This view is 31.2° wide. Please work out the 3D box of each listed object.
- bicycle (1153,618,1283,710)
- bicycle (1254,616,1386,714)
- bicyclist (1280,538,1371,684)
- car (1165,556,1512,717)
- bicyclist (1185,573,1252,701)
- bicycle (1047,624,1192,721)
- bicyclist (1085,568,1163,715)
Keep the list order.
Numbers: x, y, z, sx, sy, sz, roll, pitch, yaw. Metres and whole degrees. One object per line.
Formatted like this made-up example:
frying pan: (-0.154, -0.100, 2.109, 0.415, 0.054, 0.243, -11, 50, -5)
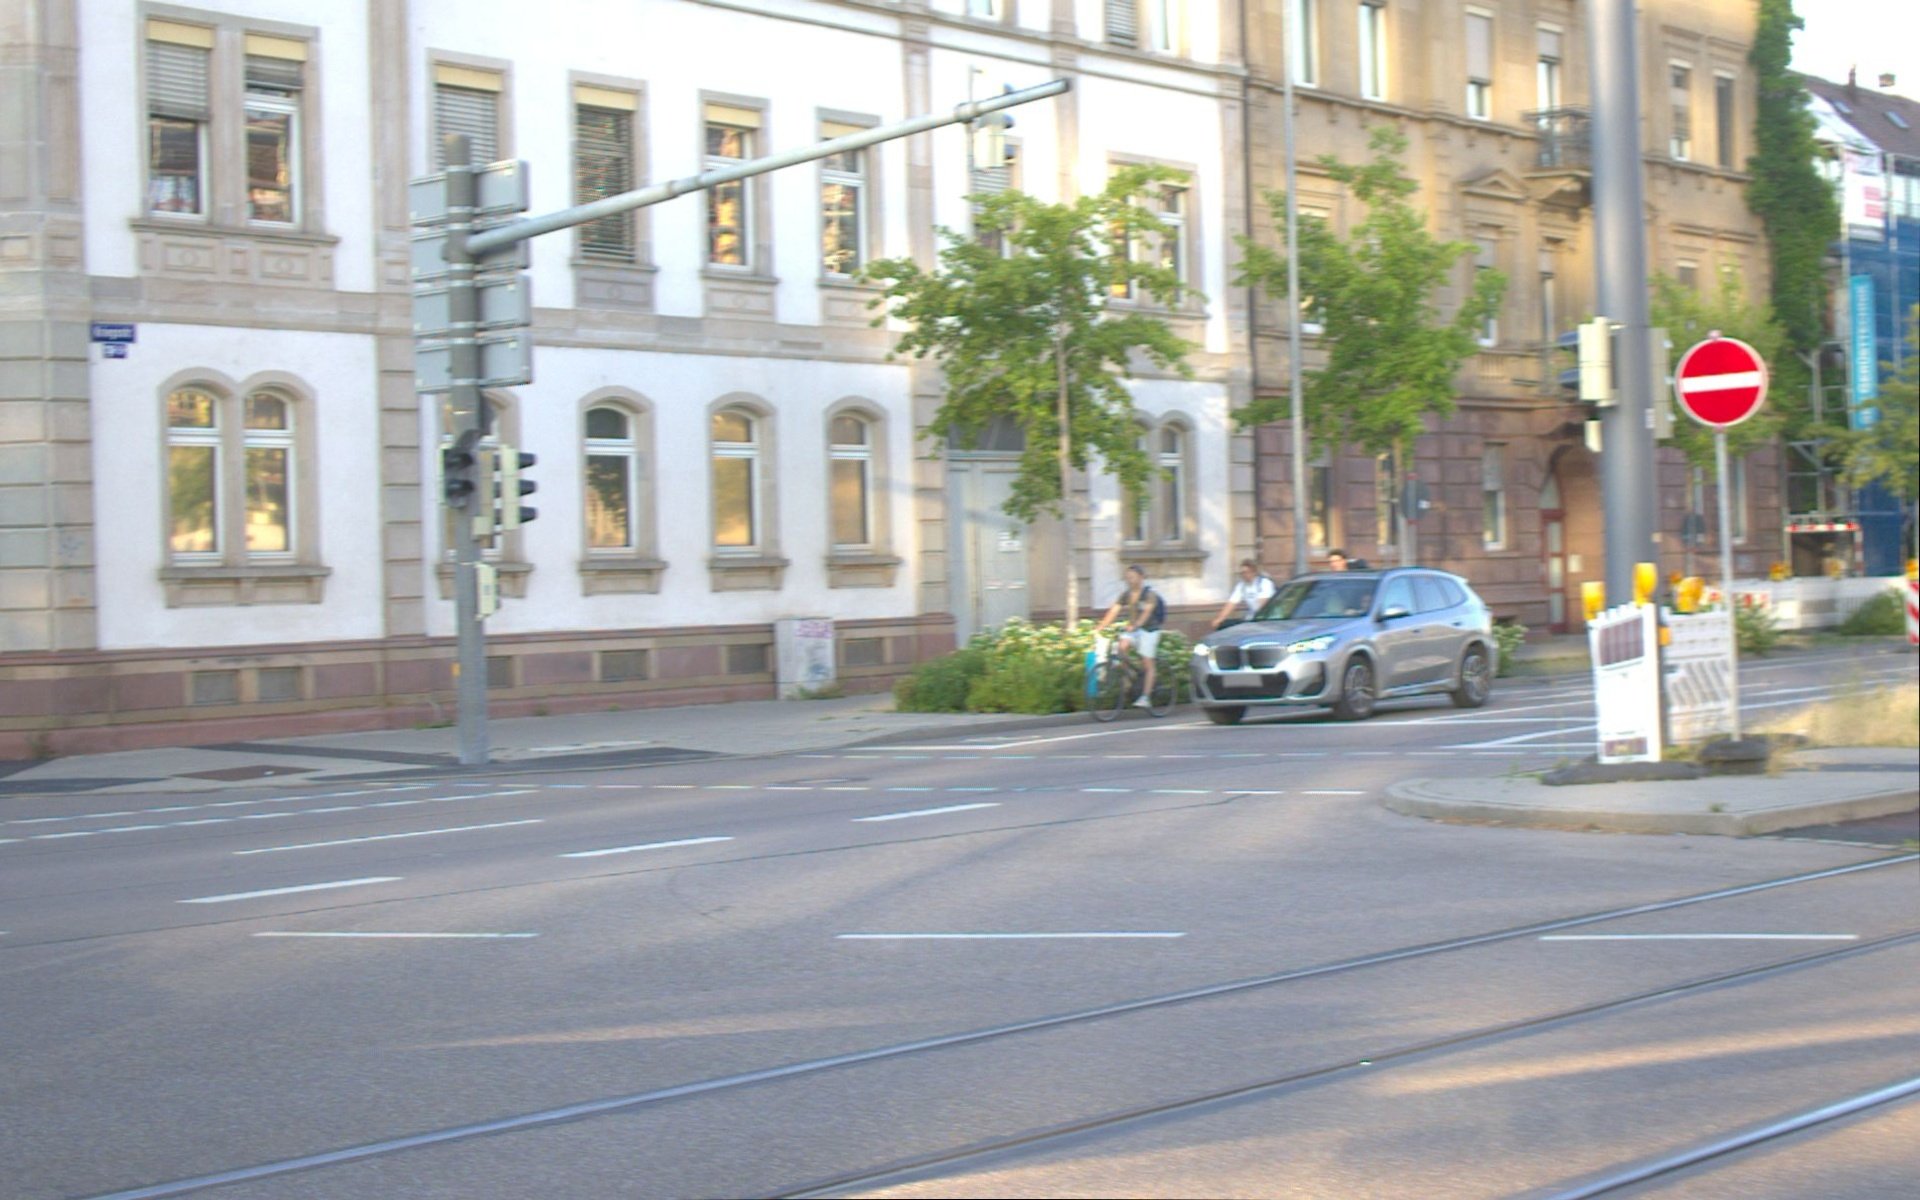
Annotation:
bicycle: (3.192, 0.778, 42.370, 0.517, 1.048, 2.039, 0, 1, 39)
bicycle: (4.367, 0.773, 41.546, 0.720, 1.048, 2.040, -5, -1, 31)
bicyclist: (4.444, 0.128, 41.752, 0.704, 1.695, 0.767, -5, 0, 31)
car: (4.243, 0.376, 38.024, 1.833, 1.592, 4.251, -2, 0, 37)
bicyclist: (3.189, 0.448, 42.372, 0.512, 1.543, 0.691, 0, 1, 39)
bicycle: (1.889, 0.839, 40.334, 0.528, 1.048, 2.043, 0, 1, 41)
bicyclist: (1.926, 0.483, 40.377, 0.510, 1.695, 0.766, 0, 1, 41)
